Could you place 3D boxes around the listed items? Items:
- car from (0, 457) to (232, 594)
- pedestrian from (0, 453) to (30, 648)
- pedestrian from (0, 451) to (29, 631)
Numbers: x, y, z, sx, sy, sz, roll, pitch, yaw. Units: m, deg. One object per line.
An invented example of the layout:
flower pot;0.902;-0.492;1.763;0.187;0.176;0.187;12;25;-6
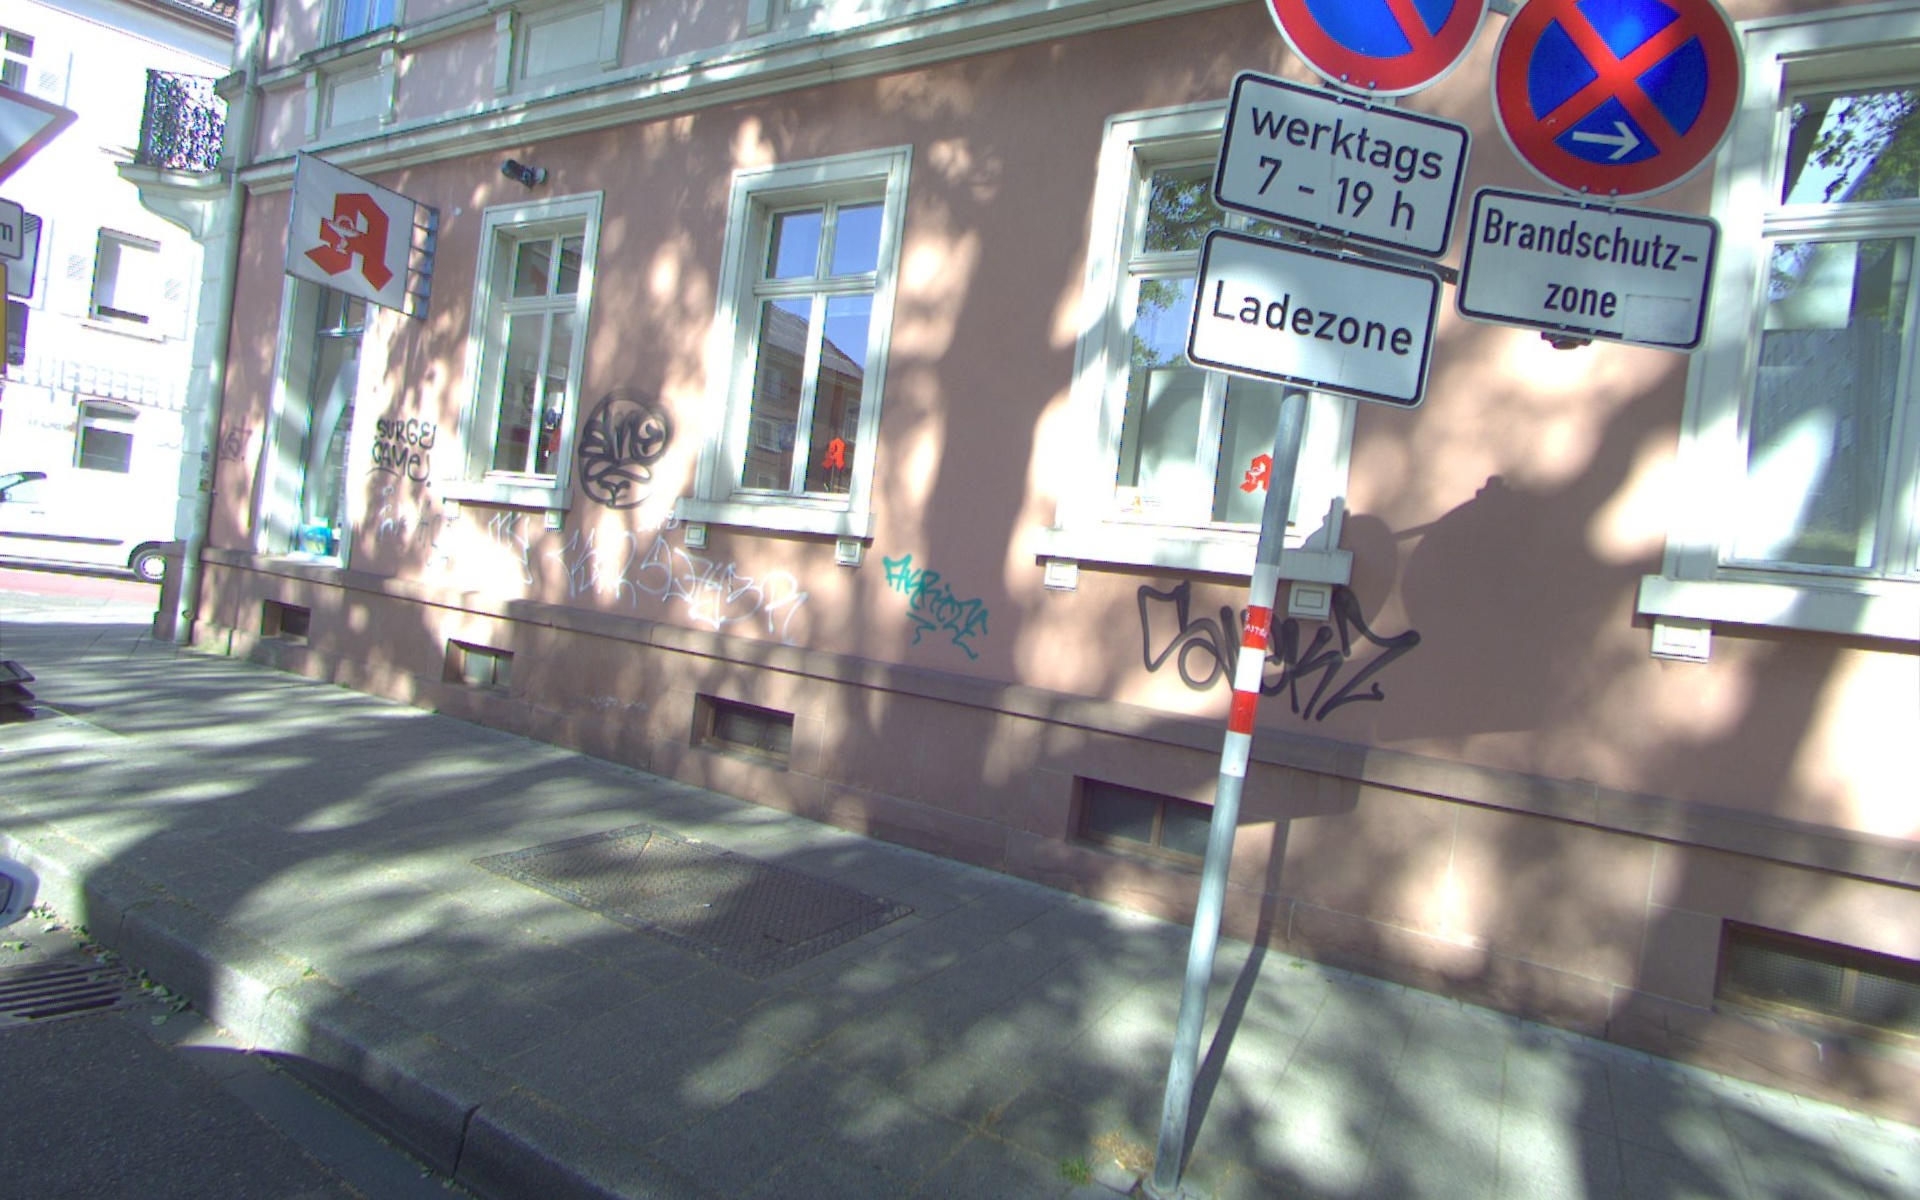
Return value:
car;-16.484;-1.437;18.395;4.983;1.969;2.030;8;-1;-37
pedestrian;-8.339;-0.436;8.258;0.832;1.596;0.843;6;5;32
pedestrian;-9.362;-0.567;9.402;0.616;1.690;0.835;4;3;32
